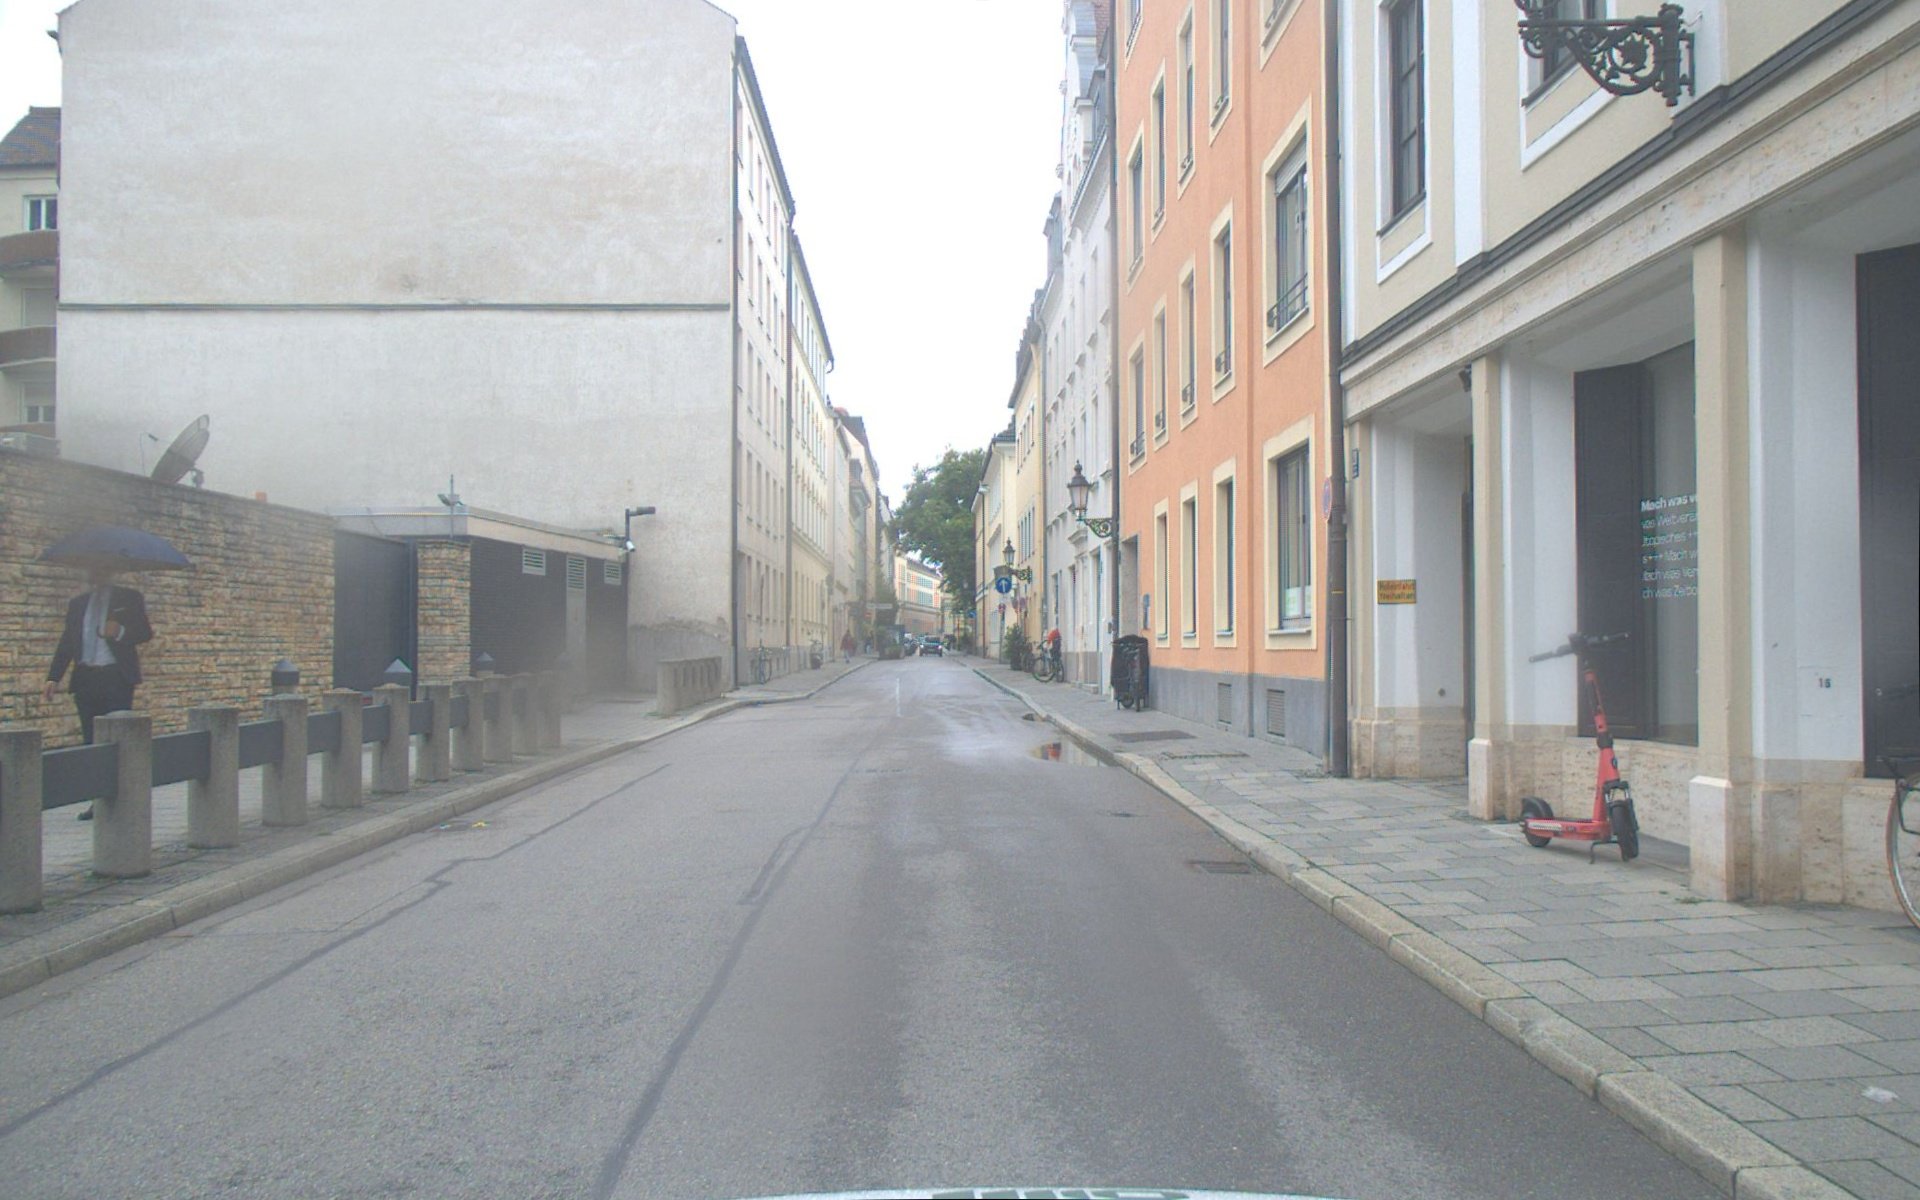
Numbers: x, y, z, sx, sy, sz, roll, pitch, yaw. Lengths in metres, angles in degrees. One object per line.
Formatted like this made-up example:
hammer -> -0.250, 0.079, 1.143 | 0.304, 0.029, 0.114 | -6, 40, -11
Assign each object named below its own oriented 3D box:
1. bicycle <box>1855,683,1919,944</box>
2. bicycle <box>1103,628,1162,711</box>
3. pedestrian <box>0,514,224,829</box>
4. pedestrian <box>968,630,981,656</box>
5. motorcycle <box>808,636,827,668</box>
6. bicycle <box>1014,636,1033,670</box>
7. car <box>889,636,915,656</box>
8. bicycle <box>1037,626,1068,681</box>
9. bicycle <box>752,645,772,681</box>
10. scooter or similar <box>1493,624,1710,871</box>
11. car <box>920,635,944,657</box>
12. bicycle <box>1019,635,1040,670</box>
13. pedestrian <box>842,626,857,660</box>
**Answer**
bicycle -> 4.012, 0.877, 6.209 | 0.454, 1.011, 2.080 | -1, 0, 9
bicycle -> 2.879, 1.138, 27.749 | 0.665, 1.261, 2.382 | -4, -1, 0
pedestrian -> -6.113, 0.489, 11.809 | 1.198, 2.141, 1.116 | 0, -1, 1
pedestrian -> 1.014, 3.076, 118.325 | 0.862, 1.834, 1.046 | 1, -2, -1
motorcycle -> -5.493, 1.993, 63.617 | 0.590, 1.194, 1.708 | 1, -1, -1
bicycle -> 2.211, 1.844, 57.971 | 0.554, 1.157, 1.683 | -2, -1, 0
car -> -4.456, 3.534, 127.410 | 1.742, 1.492, 3.663 | 1, -1, 1
bicycle -> 2.501, 1.427, 44.681 | 0.698, 1.420, 2.122 | -2, -1, 1
bicycle -> -5.434, 1.720, 45.377 | 0.313, 0.960, 1.574 | 3, -1, 0
scooter or similar -> 3.629, 0.790, 9.446 | 0.457, 1.281, 1.272 | -2, 0, -15
car -> -2.153, 3.504, 126.550 | 1.776, 1.622, 3.998 | 0, -1, -2
bicycle -> 2.341, 1.755, 55.758 | 0.554, 1.157, 1.987 | -2, -1, 0
pedestrian -> -5.599, 2.183, 83.714 | 0.750, 1.738, 0.784 | 0, -2, -4
